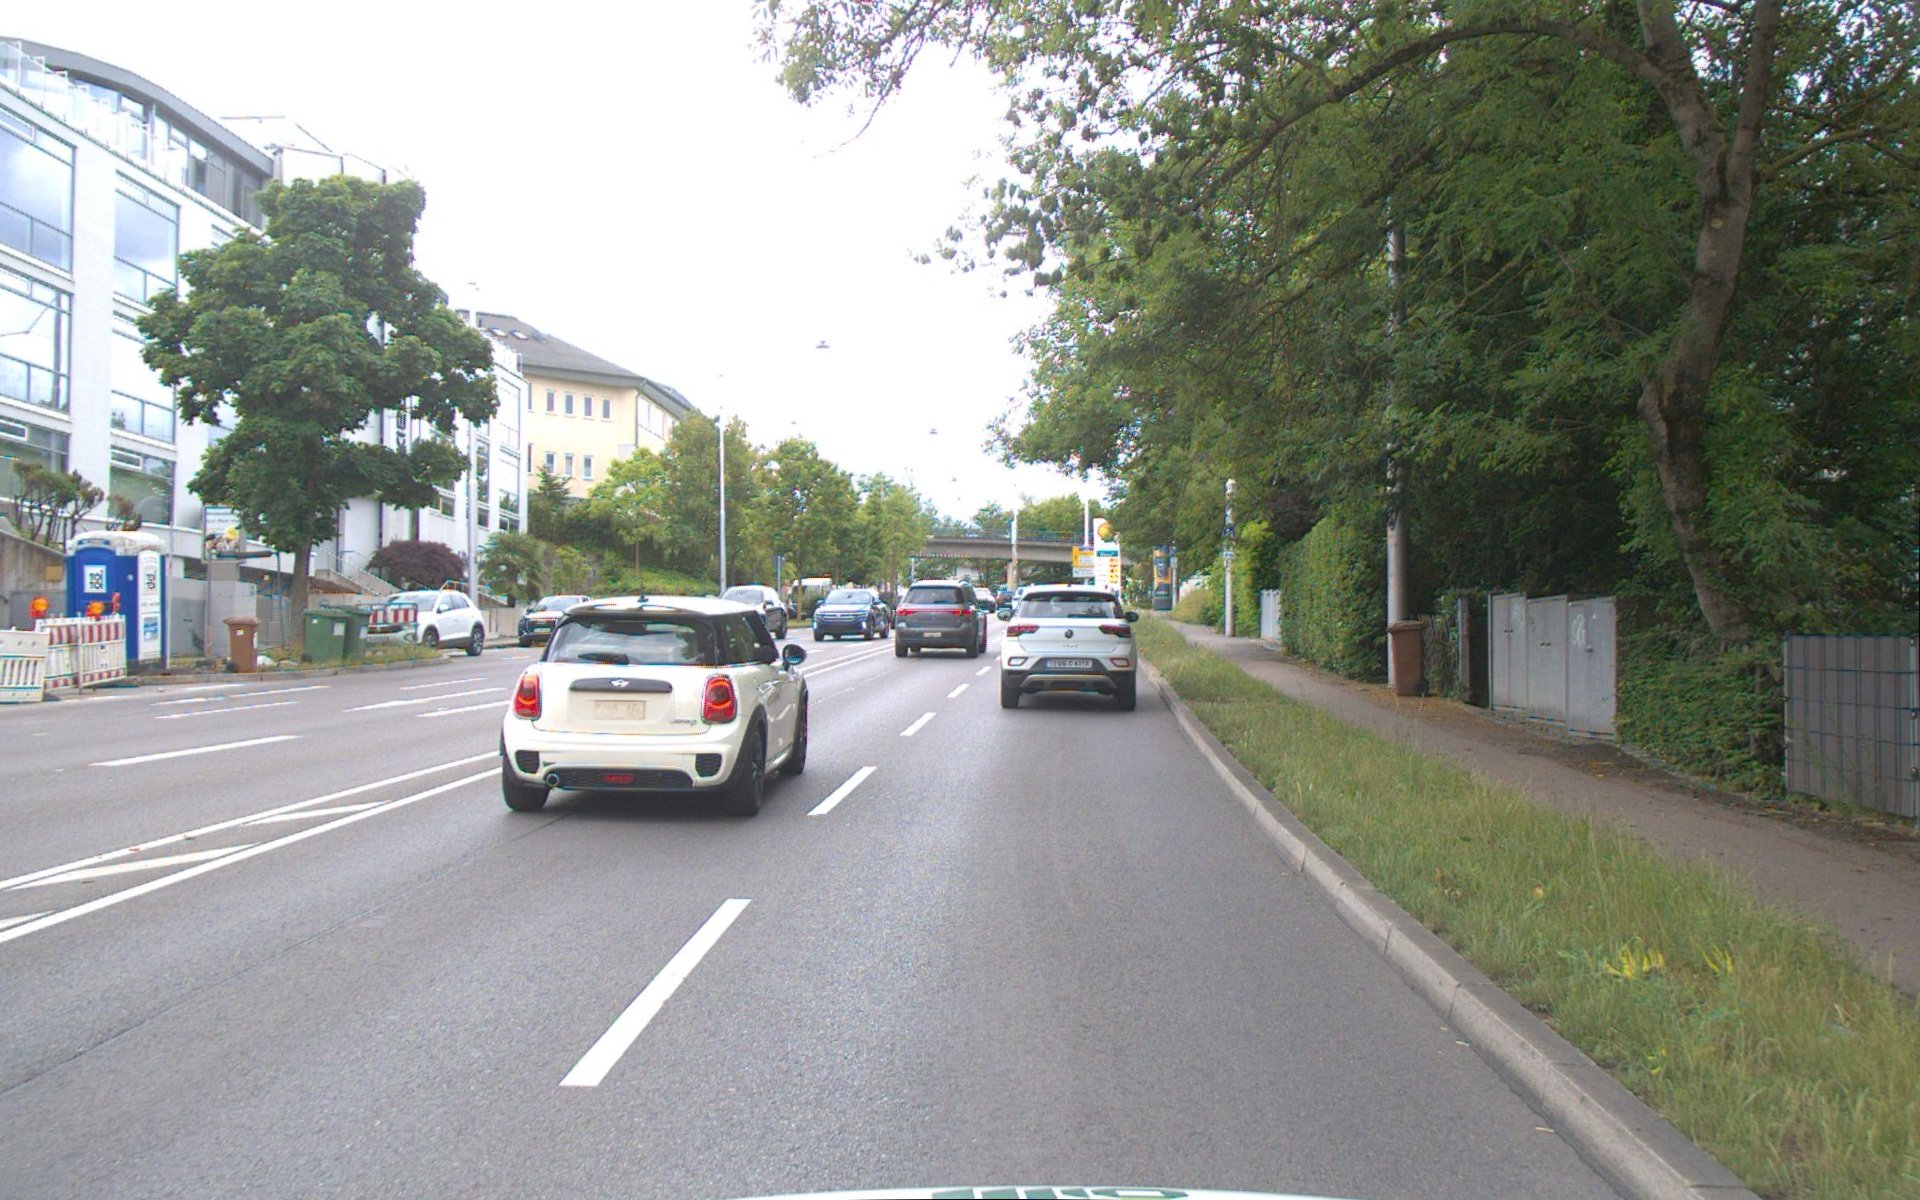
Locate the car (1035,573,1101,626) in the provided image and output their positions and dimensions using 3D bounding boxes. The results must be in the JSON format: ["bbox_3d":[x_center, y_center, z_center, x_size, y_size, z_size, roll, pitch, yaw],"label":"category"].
[{"bbox_3d":[3.449,0.021,53.520,1.834,1.527,4.555,3,-1,1],"label":"car"}]

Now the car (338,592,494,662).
[{"bbox_3d":[-12.487,0.589,38.234,1.733,1.525,4.308,0,0,7],"label":"car"}]

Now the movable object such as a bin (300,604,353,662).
[{"bbox_3d":[-11.606,0.596,30.292,0.631,1.033,0.661,1,0,13],"label":"movable object such as a bin"}]

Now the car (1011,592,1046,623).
[{"bbox_3d":[3.761,0.388,91.515,1.819,1.681,4.637,0,0,1],"label":"car"}]

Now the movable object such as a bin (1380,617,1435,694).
[{"bbox_3d":[5.696,0.701,21.067,0.543,0.964,0.567,1,0,1],"label":"movable object such as a bin"}]

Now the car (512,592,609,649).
[{"bbox_3d":[-12.117,0.591,50.382,1.733,1.662,3.918,0,0,4],"label":"car"}]

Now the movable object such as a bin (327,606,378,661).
[{"bbox_3d":[-11.350,0.623,30.923,0.631,1.007,0.661,1,0,13],"label":"movable object such as a bin"}]

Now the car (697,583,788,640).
[{"bbox_3d":[-6.592,0.347,50.484,1.733,1.662,4.146,0,0,7],"label":"car"}]

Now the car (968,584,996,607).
[{"bbox_3d":[1.546,-0.335,115.024,1.856,1.569,4.693,0,0,1],"label":"car"}]

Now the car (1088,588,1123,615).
[{"bbox_3d":[8.436,0.059,96.085,1.819,1.527,4.057,0,0,2],"label":"car"}]

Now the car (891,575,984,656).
[{"bbox_3d":[-0.570,0.323,37.224,1.777,1.681,4.632,0,0,-4],"label":"car"}]

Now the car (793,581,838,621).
[{"bbox_3d":[-8.576,0.056,98.592,2.026,2.346,5.466,0,0,1],"label":"car"}]

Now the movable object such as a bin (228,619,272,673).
[{"bbox_3d":[-12.021,0.776,28.000,0.650,0.895,0.641,1,0,-27],"label":"movable object such as a bin"}]

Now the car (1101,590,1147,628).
[{"bbox_3d":[7.296,0.441,74.105,1.834,1.527,4.557,3,-1,4],"label":"car"}]

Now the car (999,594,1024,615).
[{"bbox_3d":[3.982,0.339,128.424,1.857,1.569,4.693,0,0,1],"label":"car"}]

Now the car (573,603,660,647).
[{"bbox_3d":[-11.559,0.822,55.943,1.733,1.432,4.145,0,0,5],"label":"car"}]

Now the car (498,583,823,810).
[{"bbox_3d":[-2.027,0.604,12.163,1.594,1.418,3.567,0,0,2],"label":"car"}]

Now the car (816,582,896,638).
[{"bbox_3d":[-3.141,0.284,50.725,1.733,1.624,5.186,0,0,4],"label":"car"}]

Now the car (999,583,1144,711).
[{"bbox_3d":[1.511,0.573,22.219,1.773,1.566,3.691,0,0,4],"label":"car"}]
